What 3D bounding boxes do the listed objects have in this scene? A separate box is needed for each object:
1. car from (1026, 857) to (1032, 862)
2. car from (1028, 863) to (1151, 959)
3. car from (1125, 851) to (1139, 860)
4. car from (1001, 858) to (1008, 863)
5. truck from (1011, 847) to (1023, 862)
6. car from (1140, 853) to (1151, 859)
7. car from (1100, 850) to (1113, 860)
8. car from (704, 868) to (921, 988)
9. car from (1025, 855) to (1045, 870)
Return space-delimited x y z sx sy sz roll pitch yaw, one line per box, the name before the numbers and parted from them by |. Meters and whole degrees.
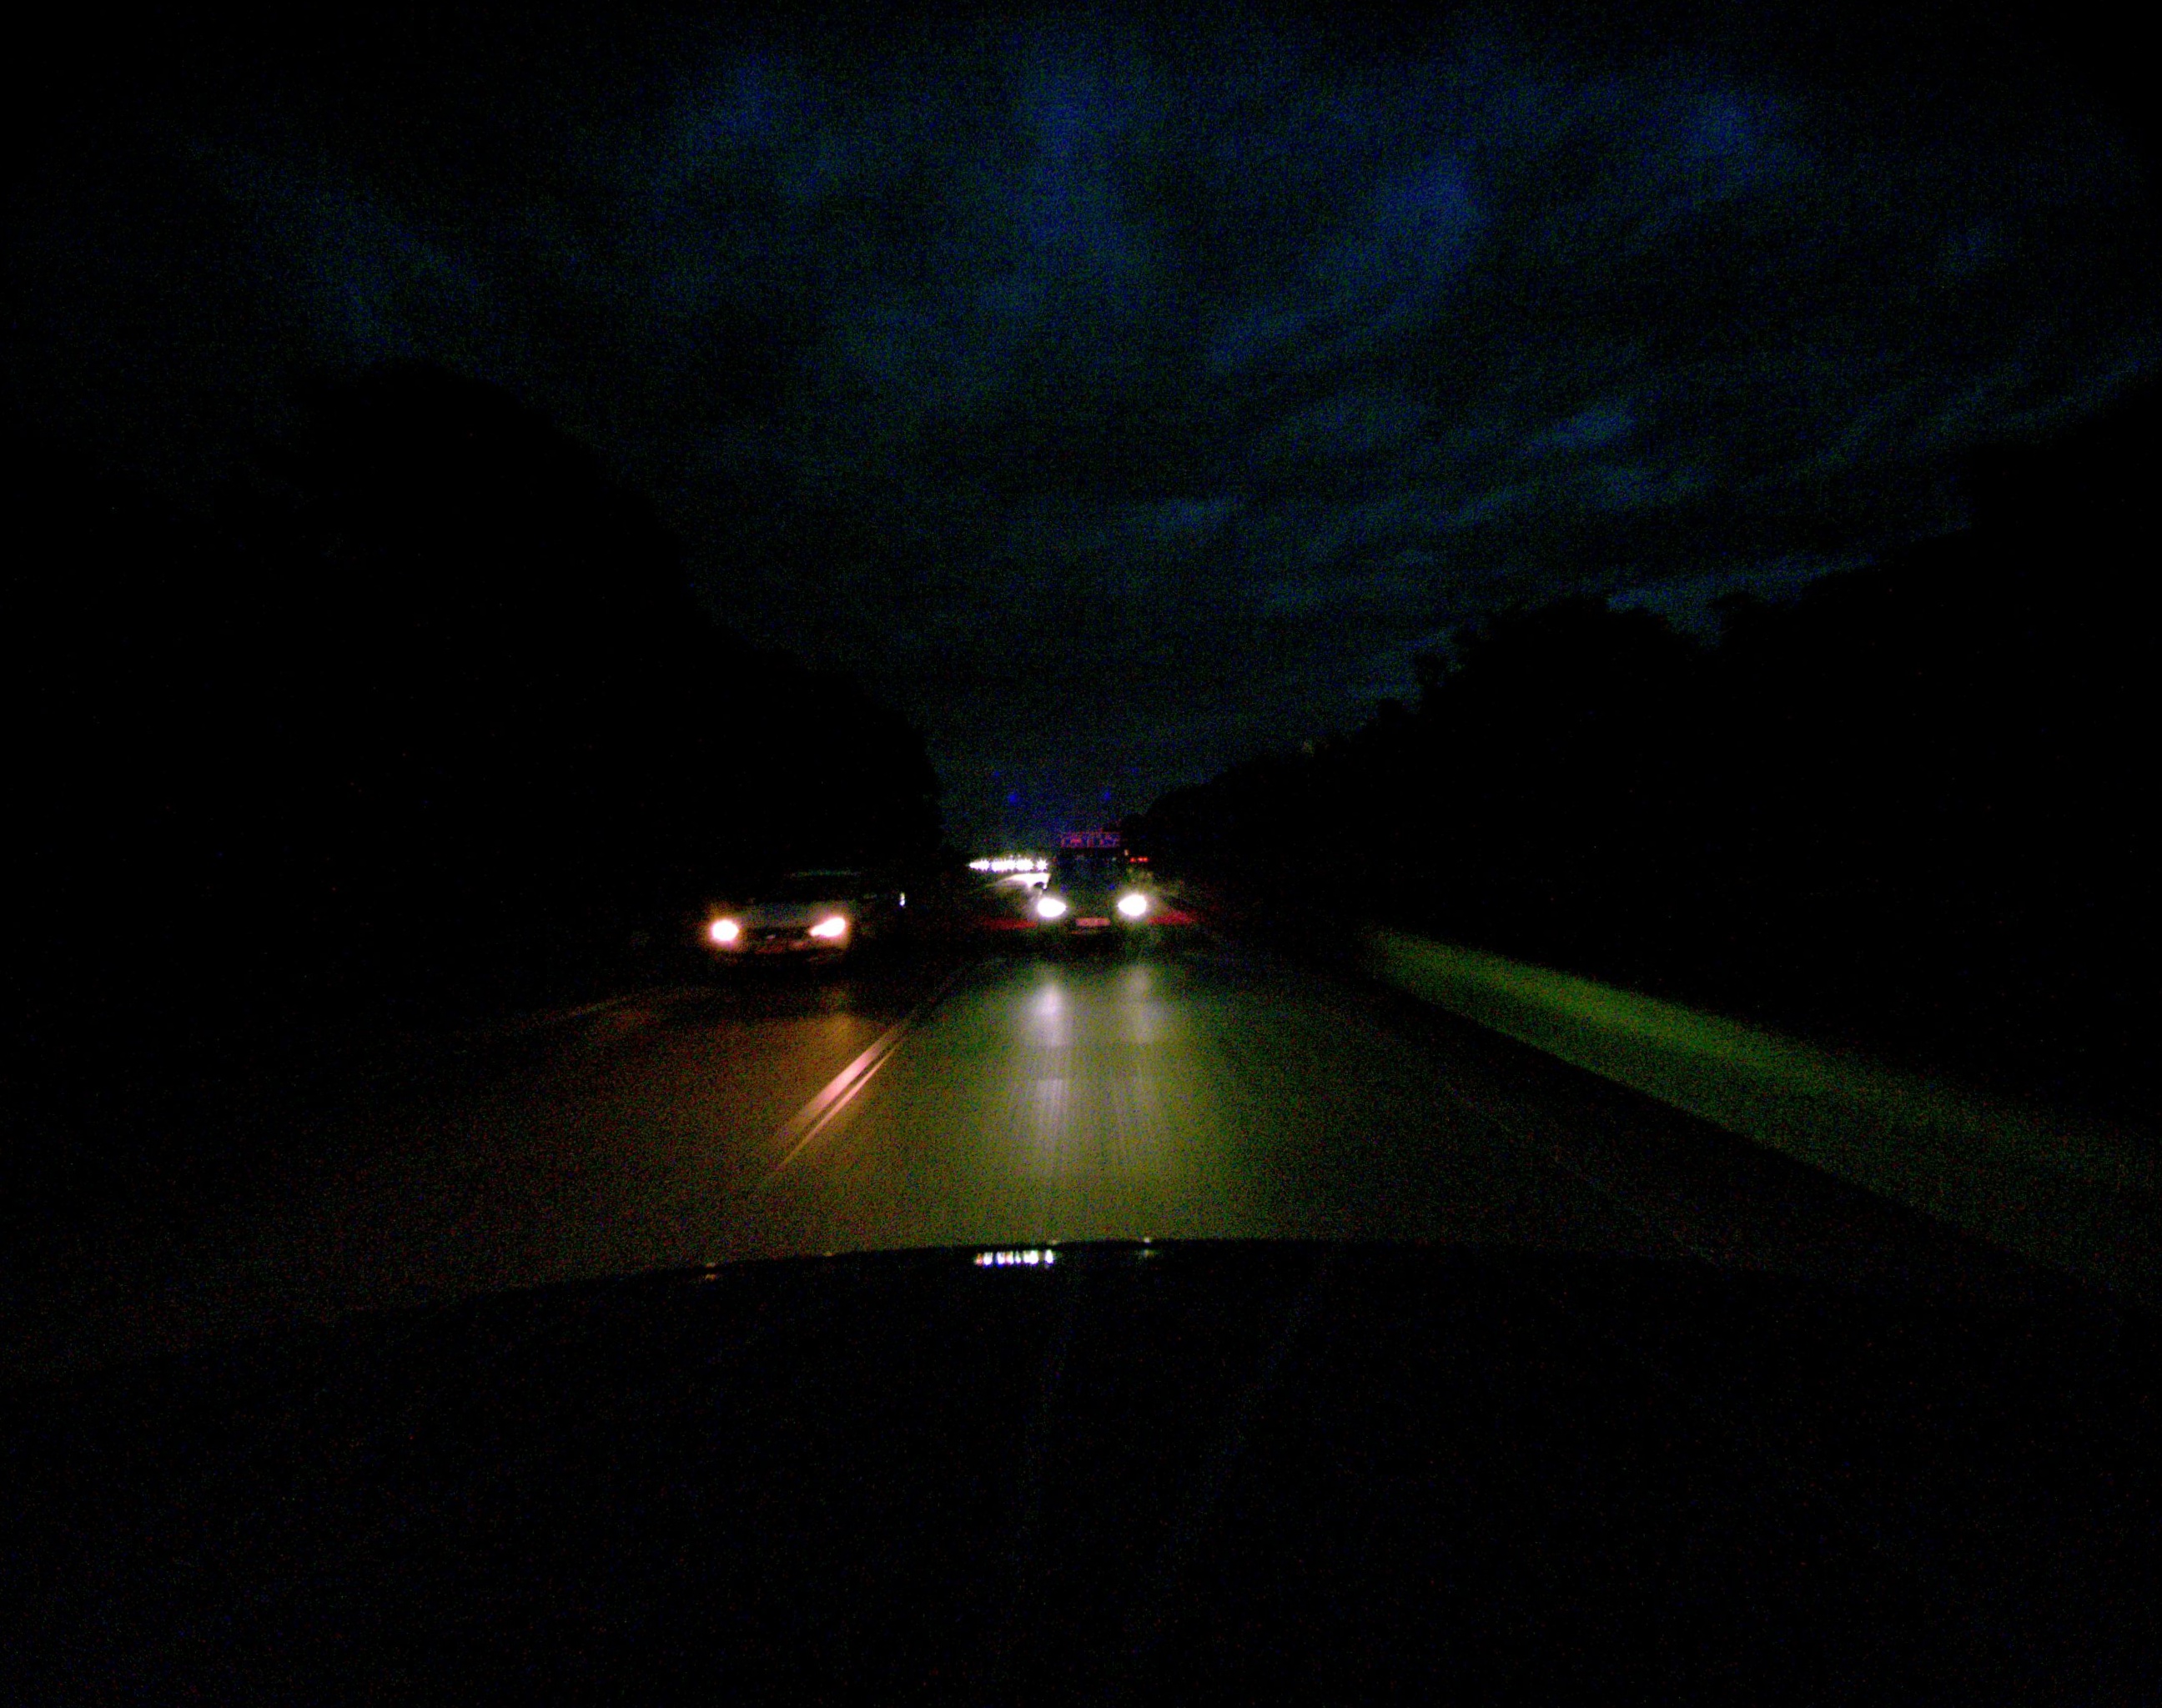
car | -16.553 1.736 242.625 1.820 1.372 4.197 -2 0 -4
car | 0.138 0.920 14.083 1.879 1.435 4.451 -2 -1 0
car | 8.682 0.209 129.601 1.880 1.435 4.450 -2 -1 -2
car | -23.674 1.990 234.449 1.820 1.372 4.042 -2 0 -4
truck | -17.691 0.087 209.555 3.146 3.987 10.541 -2 0 -4
car | 15.812 0.425 186.853 1.820 1.372 4.906 -2 0 -4
car | 4.731 0.201 141.709 1.999 1.786 4.830 -2 -1 -2
car | -4.098 1.032 12.643 1.814 1.457 5.131 -2 0 -1
car | -4.808 0.885 79.717 1.999 1.539 4.000 -2 -1 -2
